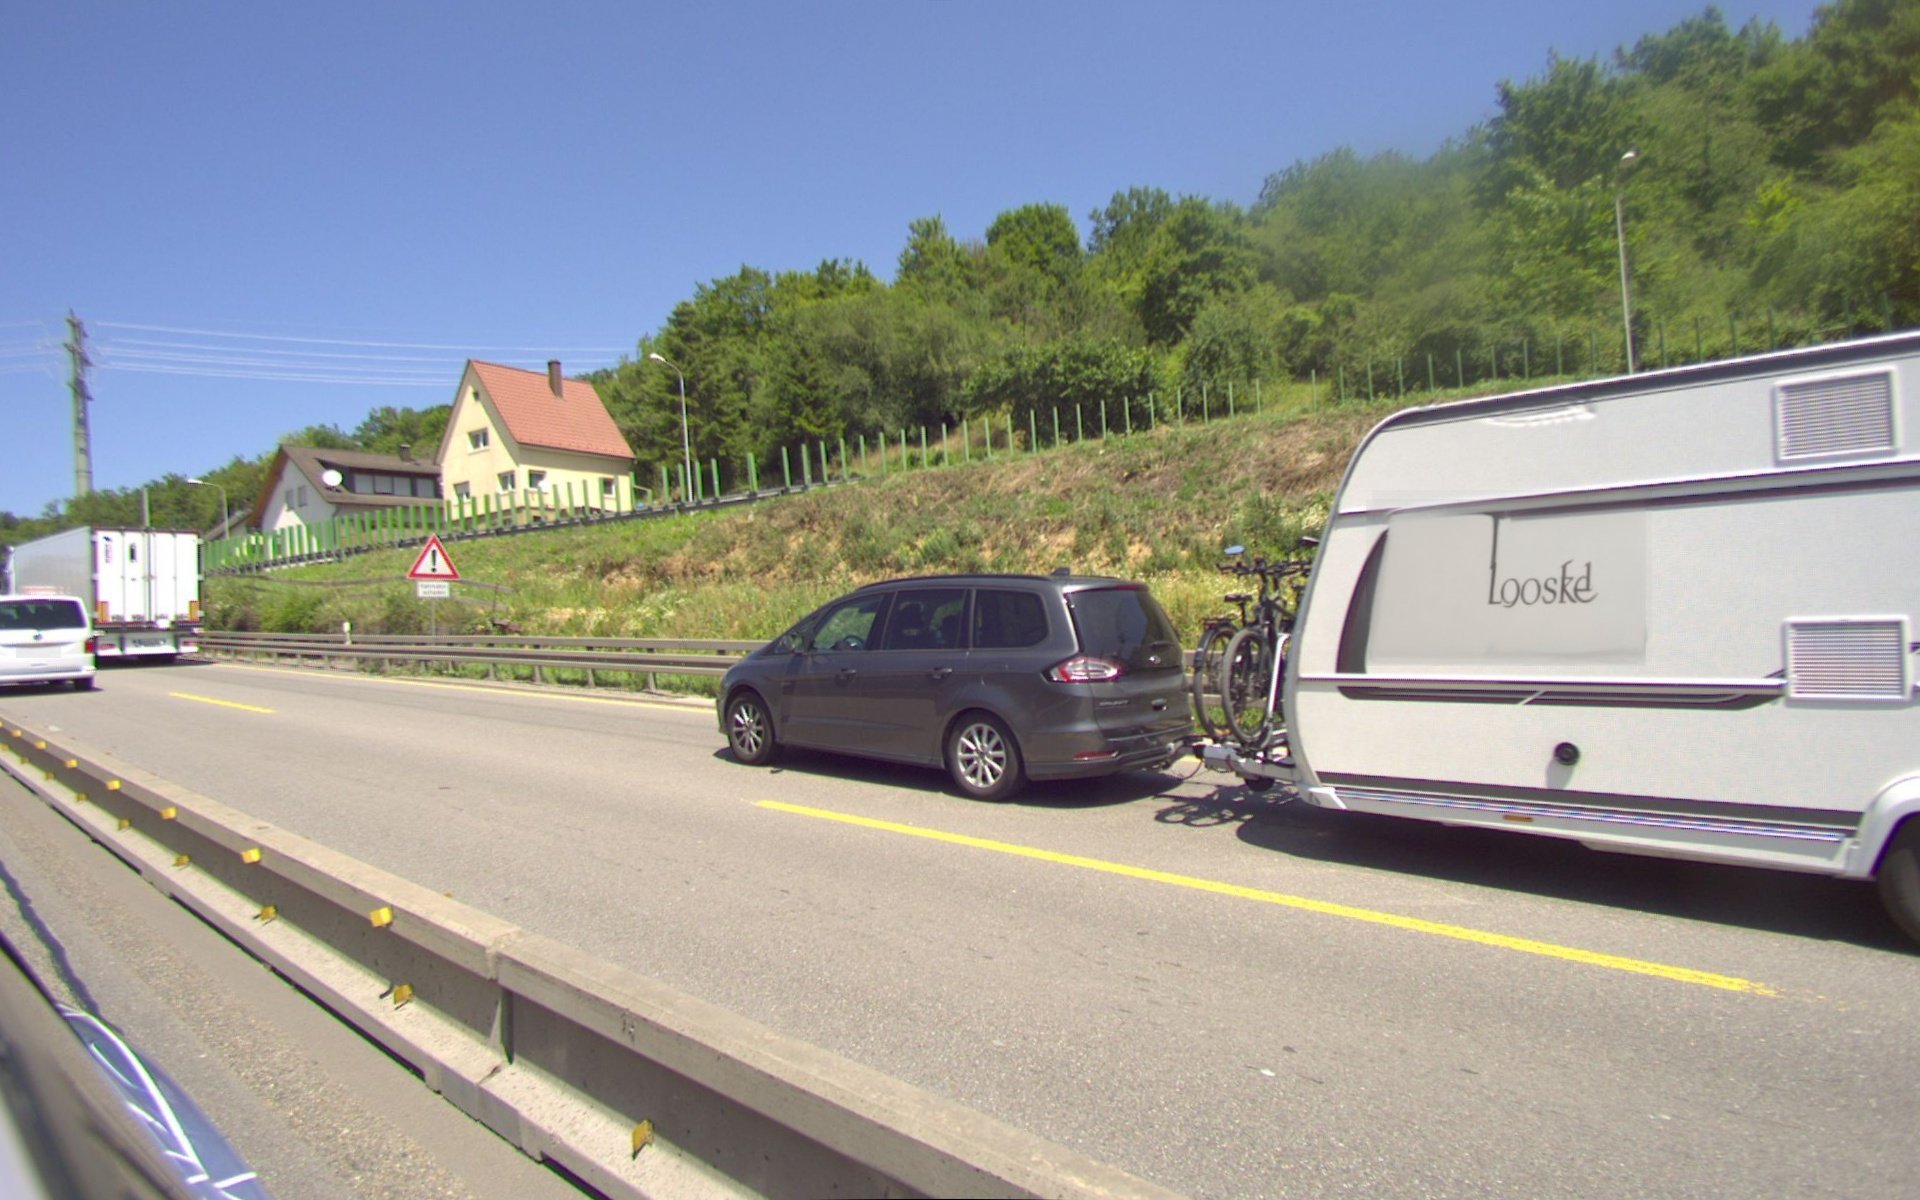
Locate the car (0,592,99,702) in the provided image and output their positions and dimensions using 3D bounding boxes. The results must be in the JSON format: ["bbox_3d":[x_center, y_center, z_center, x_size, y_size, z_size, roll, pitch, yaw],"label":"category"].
[{"bbox_3d":[-19.073,0.904,20.451,4.164,2.029,1.973,-2,-1,41],"label":"car"}]

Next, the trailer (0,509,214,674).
[{"bbox_3d":[-28.464,-0.171,33.246,14.618,4.475,3.072,-1,0,40],"label":"trailer"}]

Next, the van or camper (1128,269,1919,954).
[{"bbox_3d":[4.404,0.038,4.862,6.898,2.654,2.326,-1,0,41],"label":"van or camper"}]

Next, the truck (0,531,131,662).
[{"bbox_3d":[-34.097,-0.080,38.023,8.500,4.427,3.072,-1,0,40],"label":"truck"}]

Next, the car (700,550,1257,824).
[{"bbox_3d":[-0.054,0.576,8.825,4.685,1.769,1.973,-1,0,41],"label":"car"}]
